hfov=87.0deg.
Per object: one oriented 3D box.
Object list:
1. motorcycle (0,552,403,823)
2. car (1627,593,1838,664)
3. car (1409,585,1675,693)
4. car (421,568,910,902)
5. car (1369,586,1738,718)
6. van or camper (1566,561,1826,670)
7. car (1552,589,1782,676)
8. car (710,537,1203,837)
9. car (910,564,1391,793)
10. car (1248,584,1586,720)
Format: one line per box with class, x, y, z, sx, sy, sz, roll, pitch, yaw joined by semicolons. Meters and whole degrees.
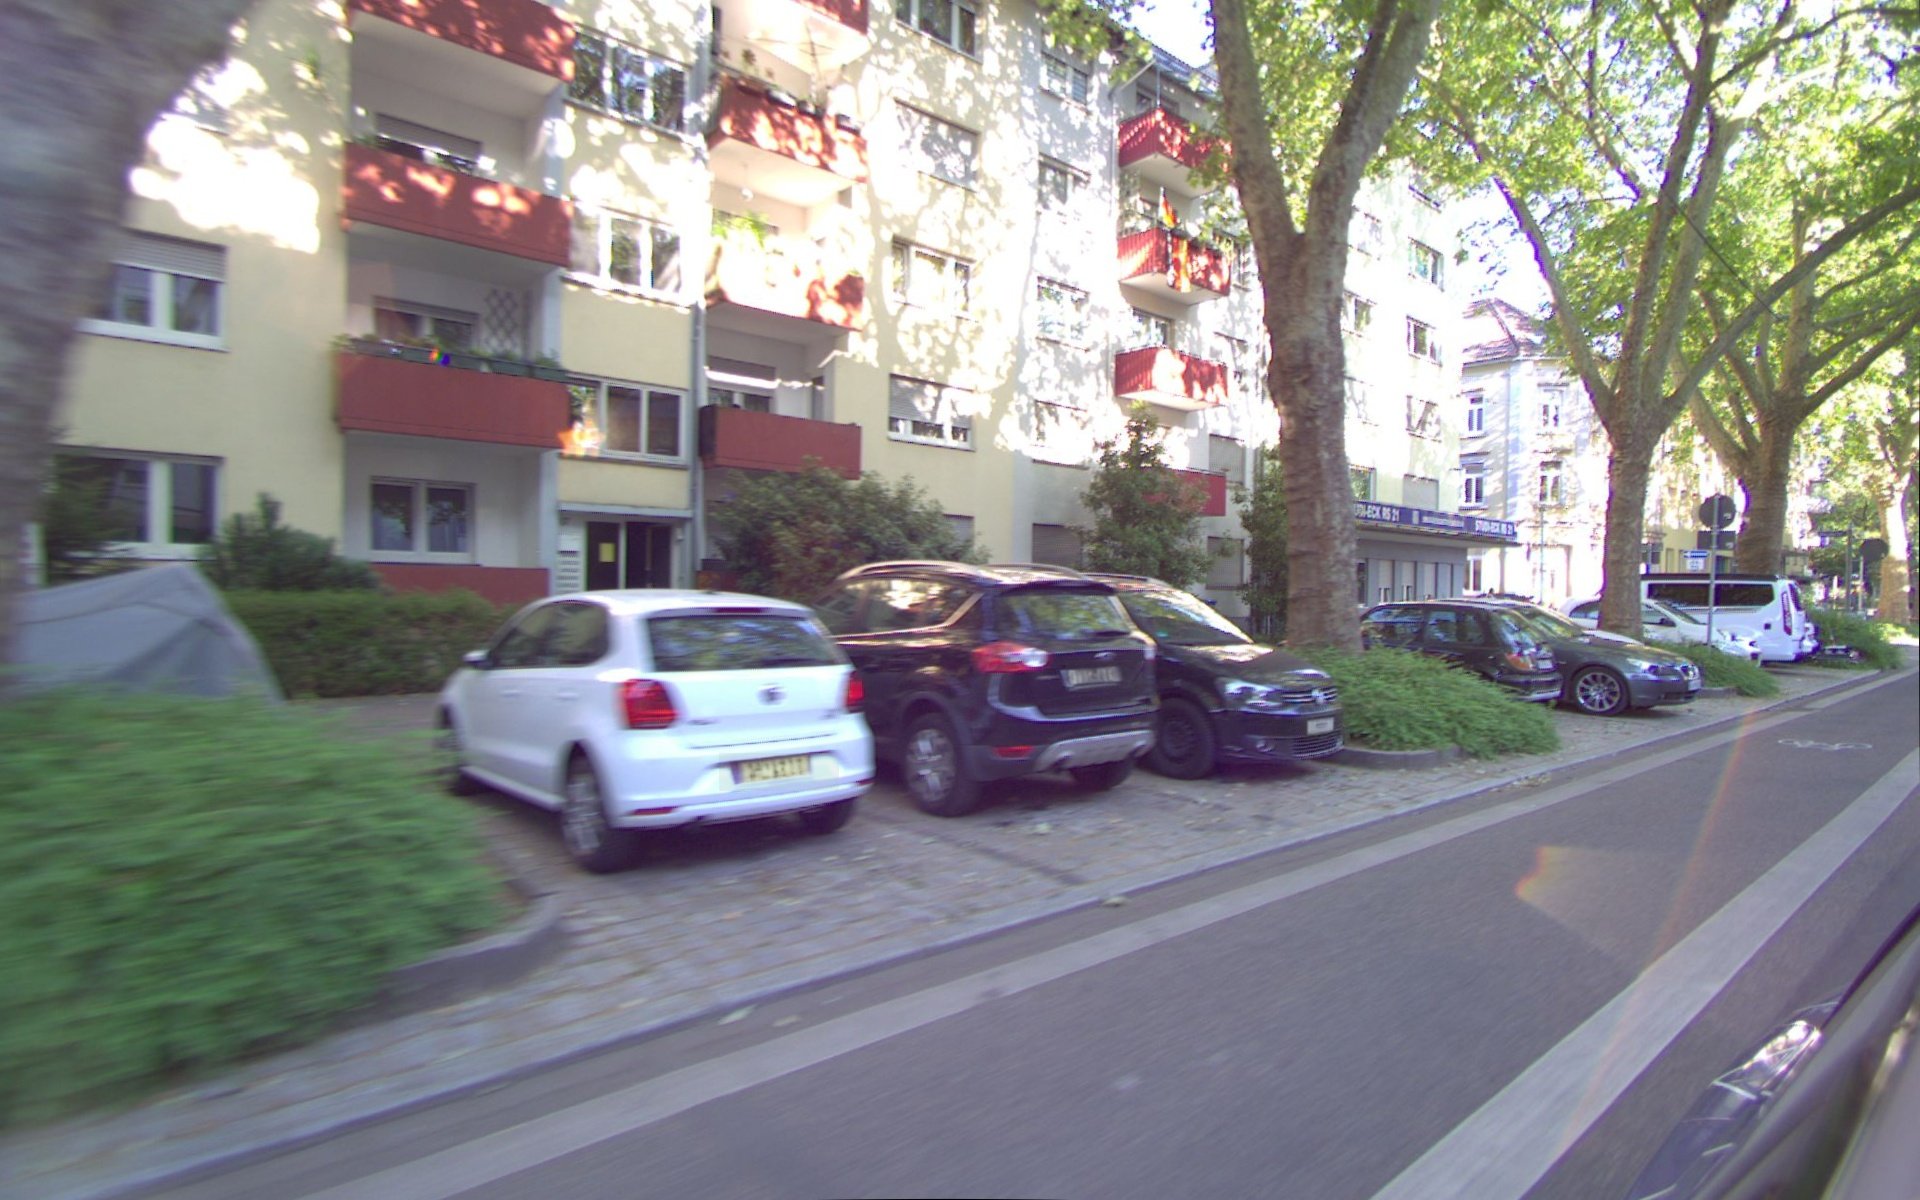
motorcycle;-5.117;0.471;6.305;2.769;1.497;0.841;0;1;-41
car;17.879;0.595;23.546;1.694;1.457;3.573;0;1;-37
car;9.581;0.554;16.841;1.615;1.500;3.481;0;2;-40
car;-2.093;0.569;6.512;1.632;1.514;3.614;0;1;-42
car;8.403;0.610;14.659;1.877;1.500;4.206;0;2;-39
van or camper;16.168;0.241;22.392;1.808;2.136;4.381;0;2;-43
car;14.309;0.590;20.608;1.649;1.550;3.568;0;1;-42
car;-0.260;0.465;8.083;1.773;1.766;4.002;1;1;-40
car;1.564;0.514;9.566;1.714;1.673;4.296;0;1;-43
car;6.069;0.580;13.752;1.671;1.461;3.831;0;2;-43
